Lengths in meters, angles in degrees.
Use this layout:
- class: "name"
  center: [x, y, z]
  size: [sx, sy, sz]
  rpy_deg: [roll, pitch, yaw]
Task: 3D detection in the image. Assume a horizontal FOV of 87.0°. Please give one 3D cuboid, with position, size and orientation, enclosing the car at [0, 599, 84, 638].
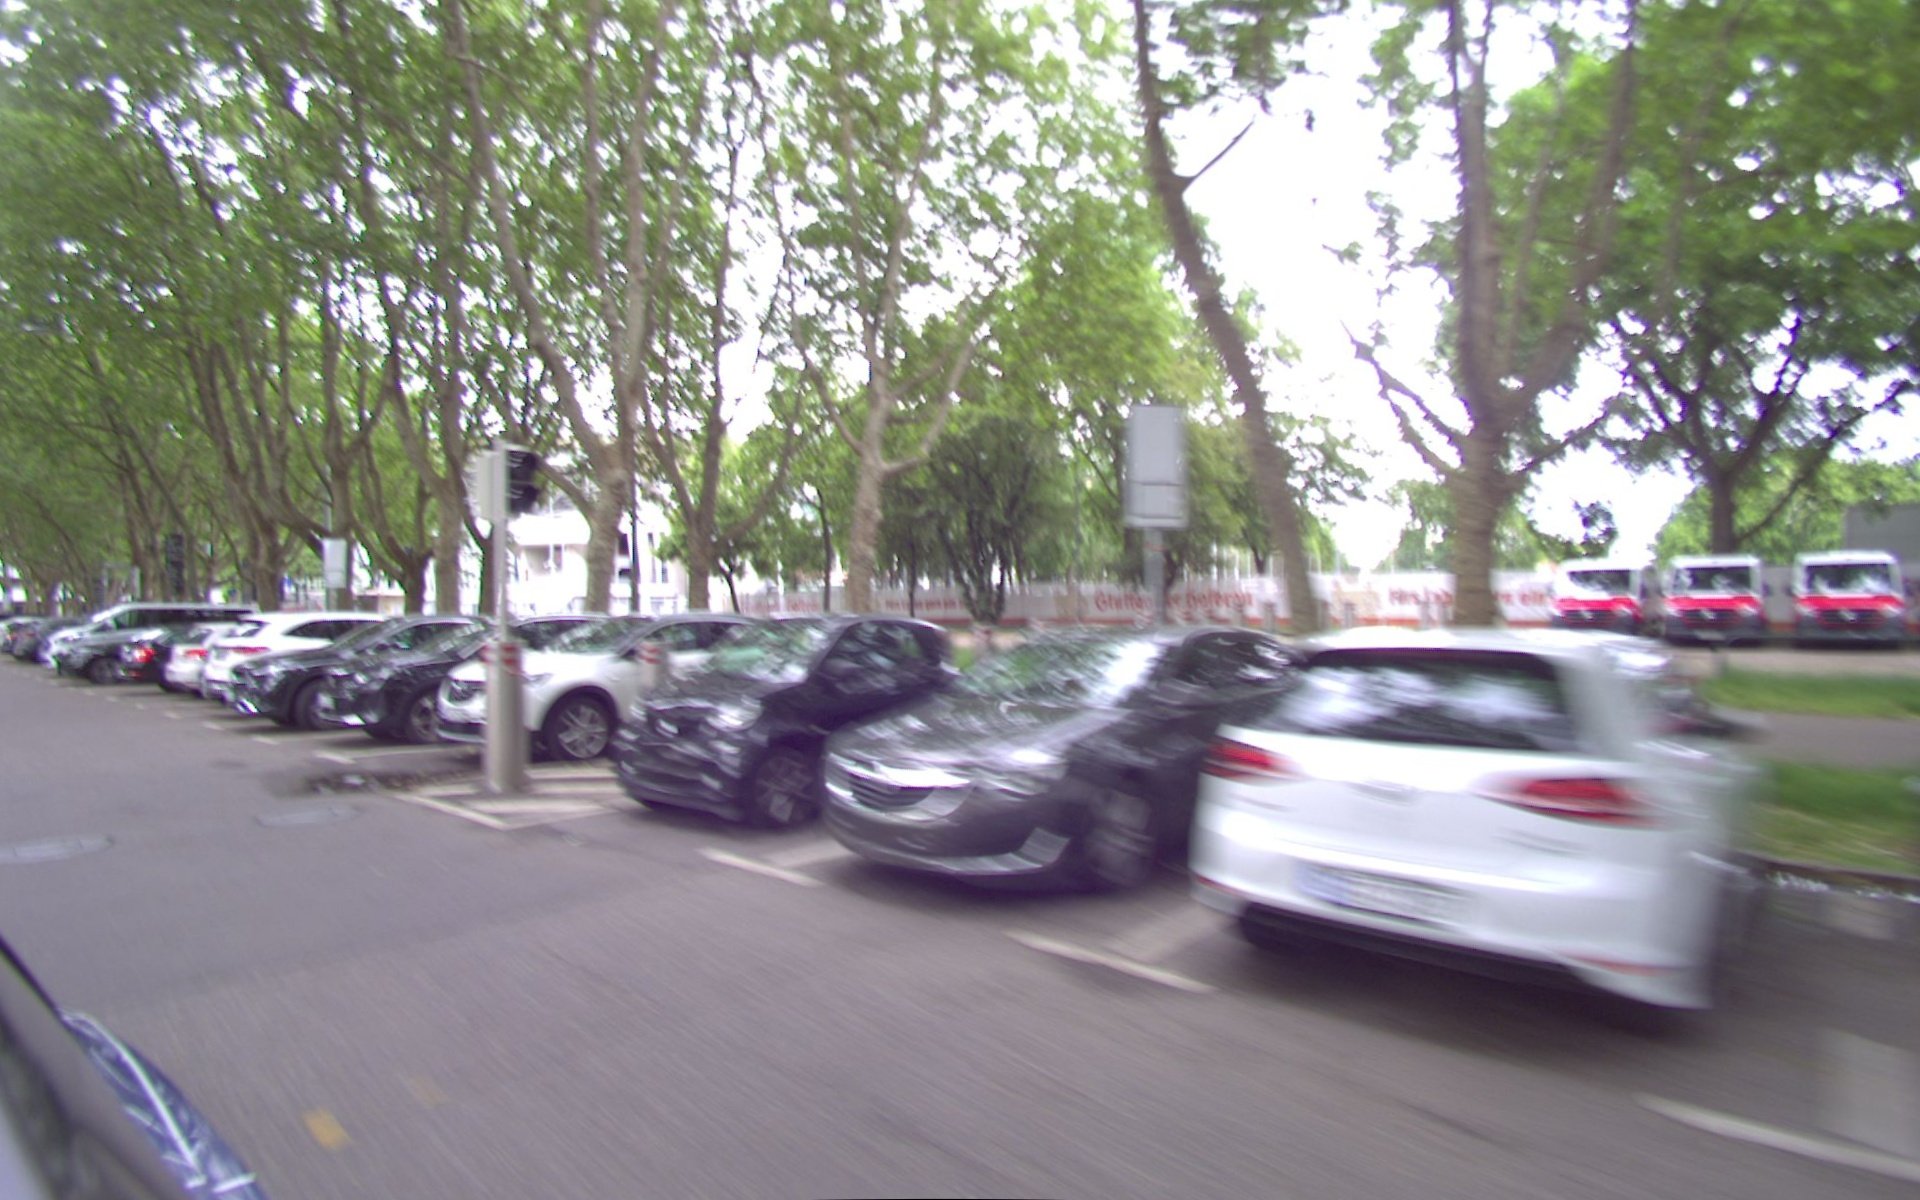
- class: "car"
  center: [-40.399, 0.813, 43.156]
  size: [1.998, 1.609, 4.336]
  rpy_deg: [-2, -3, 39]

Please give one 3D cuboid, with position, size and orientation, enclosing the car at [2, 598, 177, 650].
- class: "car"
  center: [-30.192, 0.872, 35.194]
  size: [1.998, 1.680, 4.297]
  rpy_deg: [-2, -3, 39]

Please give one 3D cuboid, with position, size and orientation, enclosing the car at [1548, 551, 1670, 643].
- class: "car"
  center: [17.889, -0.115, 27.750]
  size: [1.999, 2.269, 5.940]
  rpy_deg: [-2, 0, 40]

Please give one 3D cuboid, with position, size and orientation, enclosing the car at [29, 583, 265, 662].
- class: "car"
  center: [-22.684, 0.656, 28.430]
  size: [1.917, 2.035, 4.847]
  rpy_deg: [-1, -2, 38]

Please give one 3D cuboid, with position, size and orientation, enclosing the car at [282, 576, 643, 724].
- class: "car"
  center: [-6.275, 0.612, 13.109]
  size: [1.832, 1.620, 3.790]
  rpy_deg: [-2, -3, 38]

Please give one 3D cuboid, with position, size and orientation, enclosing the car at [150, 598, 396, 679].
- class: "car"
  center: [-13.729, 0.781, 20.391]
  size: [1.863, 1.485, 3.718]
  rpy_deg: [-2, -3, 40]

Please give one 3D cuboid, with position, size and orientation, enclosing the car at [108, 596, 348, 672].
- class: "car"
  center: [-15.643, 0.706, 21.796]
  size: [1.536, 1.482, 3.954]
  rpy_deg: [-2, -2, 41]

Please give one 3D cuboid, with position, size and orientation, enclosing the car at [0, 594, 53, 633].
- class: "car"
  center: [-53.731, 0.734, 55.709]
  size: [1.938, 2.144, 5.381]
  rpy_deg: [-3, -3, 39]

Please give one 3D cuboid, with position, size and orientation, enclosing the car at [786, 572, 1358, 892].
- class: "car"
  center: [1.064, 0.640, 6.622]
  size: [1.692, 1.375, 4.358]
  rpy_deg: [-2, -2, 38]

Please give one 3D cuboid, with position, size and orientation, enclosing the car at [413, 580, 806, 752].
- class: "car"
  center: [-3.834, 0.679, 11.668]
  size: [1.692, 1.620, 4.004]
  rpy_deg: [-1, -2, 38]

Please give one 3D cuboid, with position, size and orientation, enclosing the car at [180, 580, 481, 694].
- class: "car"
  center: [-10.279, 0.601, 16.739]
  size: [1.950, 1.640, 3.790]
  rpy_deg: [-2, -3, 38]

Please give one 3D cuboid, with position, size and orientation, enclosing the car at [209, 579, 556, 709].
- class: "car"
  center: [-8.246, 0.621, 14.716]
  size: [1.799, 1.620, 4.023]
  rpy_deg: [-2, -3, 43]

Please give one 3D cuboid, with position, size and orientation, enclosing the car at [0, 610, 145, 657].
- class: "car"
  center: [-34.223, 1.320, 38.794]
  size: [1.998, 1.680, 4.297]
  rpy_deg: [-2, -3, 39]

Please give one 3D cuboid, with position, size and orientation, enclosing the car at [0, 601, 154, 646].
- class: "car"
  center: [-31.840, 0.886, 36.538]
  size: [1.841, 1.487, 3.947]
  rpy_deg: [-2, -3, 39]

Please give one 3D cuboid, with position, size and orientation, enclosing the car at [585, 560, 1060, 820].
- class: "car"
  center: [-0.909, 0.626, 8.350]
  size: [1.692, 1.620, 3.790]
  rpy_deg: [-2, -3, 38]

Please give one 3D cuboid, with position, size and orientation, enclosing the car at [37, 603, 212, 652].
- class: "car"
  center: [-25.917, 0.898, 31.487]
  size: [1.682, 1.424, 3.945]
  rpy_deg: [-2, -4, 41]

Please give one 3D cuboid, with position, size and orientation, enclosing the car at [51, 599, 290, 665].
- class: "car"
  center: [-19.174, 0.779, 24.714]
  size: [1.775, 1.463, 4.398]
  rpy_deg: [-2, -3, 44]

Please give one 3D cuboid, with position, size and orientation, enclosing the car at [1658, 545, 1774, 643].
- class: "car"
  center: [19.691, -0.176, 26.233]
  size: [1.999, 2.269, 5.940]
  rpy_deg: [-2, 0, 40]

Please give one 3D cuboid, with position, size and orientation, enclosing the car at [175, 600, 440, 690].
- class: "car"
  center: [-11.986, 0.809, 18.786]
  size: [1.692, 1.482, 3.790]
  rpy_deg: [-2, -2, 38]

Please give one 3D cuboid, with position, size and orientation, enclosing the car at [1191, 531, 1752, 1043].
- class: "car"
  center: [2.723, 0.589, 4.892]
  size: [1.692, 1.441, 3.790]
  rpy_deg: [-2, -2, 38]

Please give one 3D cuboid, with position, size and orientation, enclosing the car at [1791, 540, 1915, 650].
- class: "car"
  center: [21.566, -0.149, 24.573]
  size: [1.999, 2.335, 5.940]
  rpy_deg: [-2, 0, 40]
